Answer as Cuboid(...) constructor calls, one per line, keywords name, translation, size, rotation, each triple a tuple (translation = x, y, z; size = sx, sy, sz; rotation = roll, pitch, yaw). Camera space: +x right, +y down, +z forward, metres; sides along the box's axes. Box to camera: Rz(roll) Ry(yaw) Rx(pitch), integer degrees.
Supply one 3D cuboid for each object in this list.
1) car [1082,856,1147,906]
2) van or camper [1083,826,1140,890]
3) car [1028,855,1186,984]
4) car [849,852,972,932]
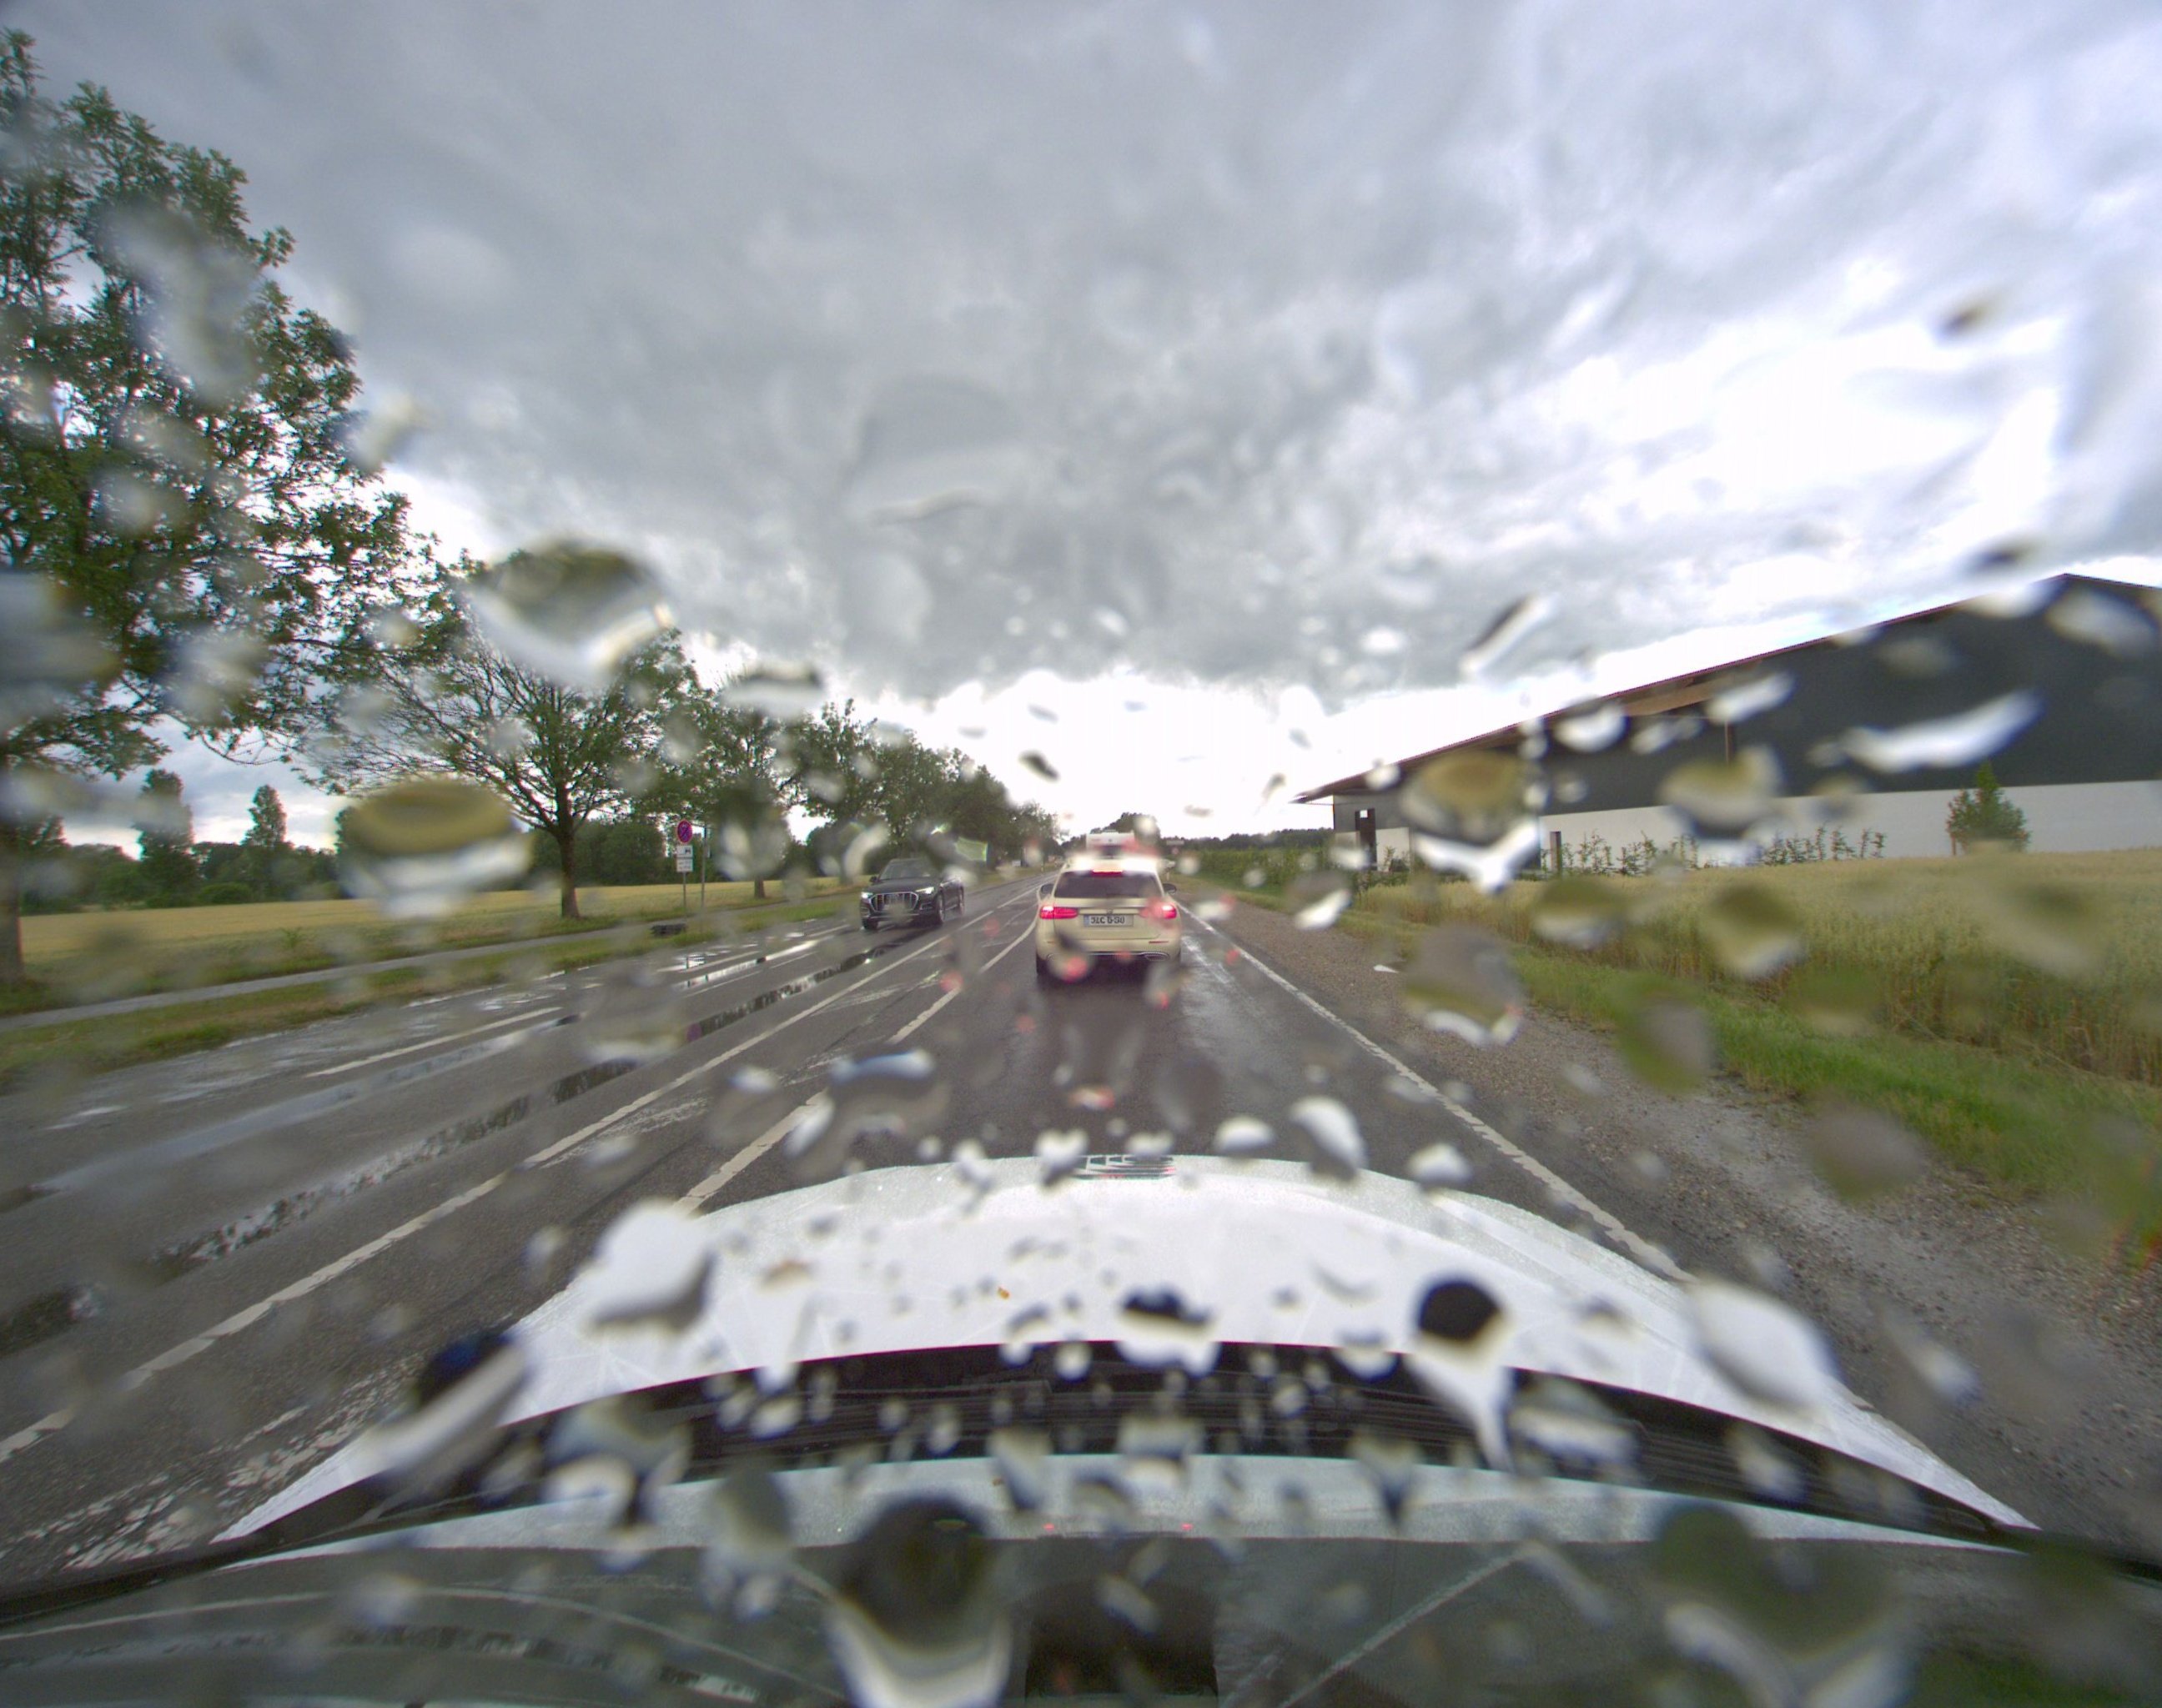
Cuboid(name="car", translation=(1.035, 0.808, 26.246), size=(1.888, 1.429, 3.928), rotation=(-1, 0, 1))
Cuboid(name="van or camper", translation=(1.540, 0.178, 40.613), size=(2.487, 2.831, 5.938), rotation=(-3, 0, 3))
Cuboid(name="car", translation=(0.383, 0.759, 11.413), size=(1.790, 1.464, 4.033), rotation=(-1, 0, 2))
Cuboid(name="car", translation=(-4.110, 0.862, 20.441), size=(1.909, 1.632, 4.359), rotation=(-6, -1, 2))
